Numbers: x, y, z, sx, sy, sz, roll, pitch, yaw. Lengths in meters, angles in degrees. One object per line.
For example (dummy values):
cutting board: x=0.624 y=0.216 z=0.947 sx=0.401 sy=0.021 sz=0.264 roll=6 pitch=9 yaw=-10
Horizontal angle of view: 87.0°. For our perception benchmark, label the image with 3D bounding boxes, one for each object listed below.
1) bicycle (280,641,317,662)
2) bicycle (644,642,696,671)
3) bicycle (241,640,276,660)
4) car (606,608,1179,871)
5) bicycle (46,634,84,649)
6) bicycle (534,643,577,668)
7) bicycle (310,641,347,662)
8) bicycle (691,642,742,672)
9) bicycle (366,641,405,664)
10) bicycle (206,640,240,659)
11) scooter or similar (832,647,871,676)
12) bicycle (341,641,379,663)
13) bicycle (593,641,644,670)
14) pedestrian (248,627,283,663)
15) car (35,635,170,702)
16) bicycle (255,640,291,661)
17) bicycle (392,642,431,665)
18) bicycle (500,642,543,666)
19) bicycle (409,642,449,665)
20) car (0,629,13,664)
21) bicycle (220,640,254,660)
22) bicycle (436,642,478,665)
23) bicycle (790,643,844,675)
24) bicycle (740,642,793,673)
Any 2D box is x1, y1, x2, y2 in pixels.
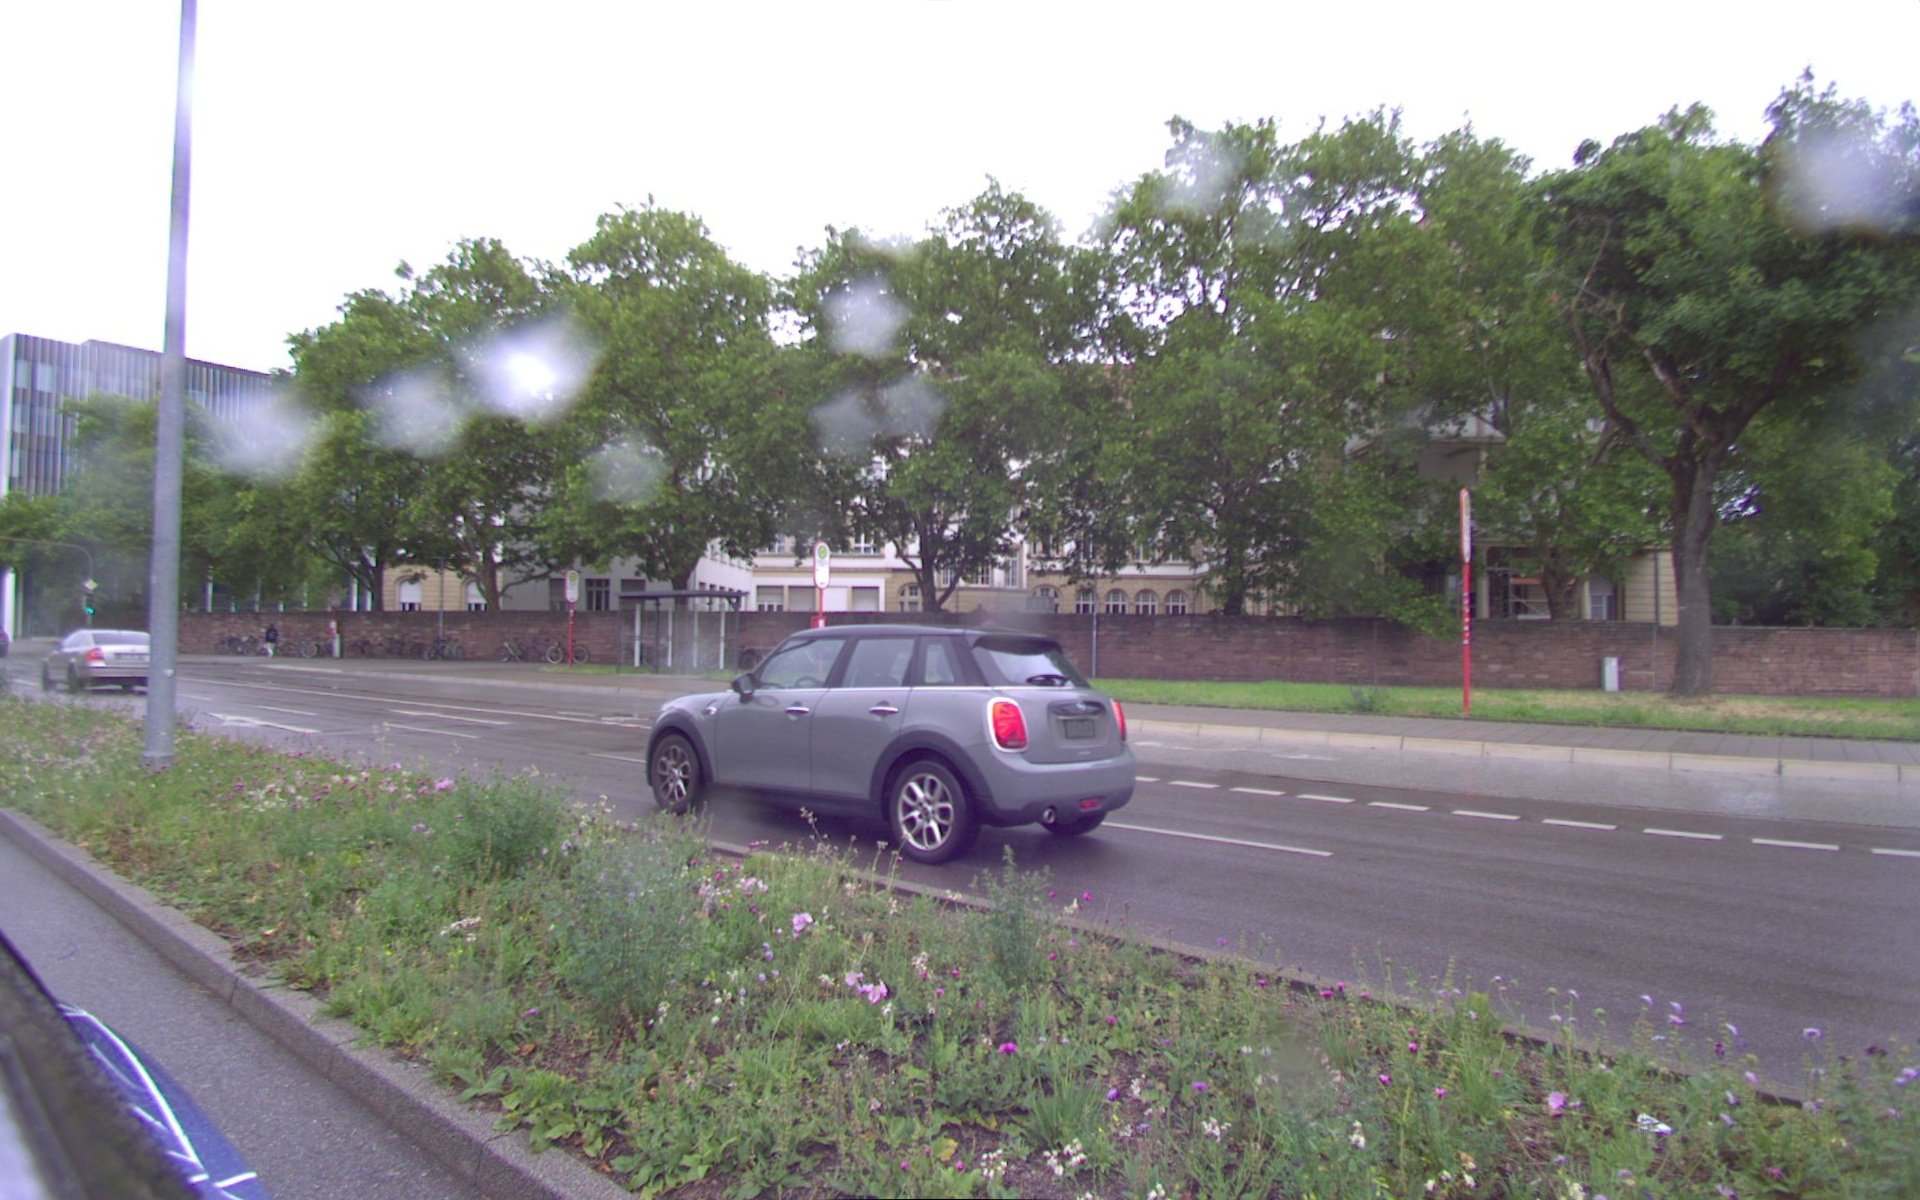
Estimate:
bicycle: x=-32.161 y=2.474 z=49.210 sx=1.692 sy=0.990 sz=0.727 roll=-1 pitch=-2 yaw=27
bicycle: x=-11.429 y=2.219 z=39.888 sx=1.975 sy=1.144 sz=0.571 roll=-1 pitch=-3 yaw=18
bicycle: x=-35.566 y=2.540 z=51.340 sx=1.692 sy=0.990 sz=0.727 roll=-1 pitch=-2 yaw=27
car: x=-0.667 y=0.871 z=7.402 sx=4.117 sy=1.387 sz=1.754 roll=-2 pitch=-6 yaw=41
bicycle: x=-73.868 y=3.405 z=83.509 sx=0.595 sy=1.231 sz=2.267 roll=-1 pitch=-3 yaw=25
bicycle: x=-16.664 y=2.287 z=41.692 sx=1.692 sy=0.990 sz=0.727 roll=-1 pitch=-2 yaw=27
bicycle: x=-30.178 y=2.452 z=48.359 sx=1.692 sy=0.990 sz=0.727 roll=-1 pitch=-2 yaw=27
bicycle: x=-9.460 y=2.208 z=39.292 sx=1.978 sy=1.144 sz=0.570 roll=-1 pitch=-3 yaw=22
bicycle: x=-26.231 y=2.389 z=46.215 sx=1.692 sy=0.990 sz=0.727 roll=-1 pitch=-2 yaw=27
bicycle: x=-38.769 y=2.597 z=53.228 sx=1.692 sy=0.990 sz=0.727 roll=-1 pitch=-2 yaw=27
scooter or similar: x=-4.019 y=2.274 z=37.472 sx=1.353 sy=1.055 sz=0.570 roll=-1 pitch=-3 yaw=22
bicycle: x=-27.822 y=2.408 z=46.927 sx=1.692 sy=0.990 sz=0.727 roll=-1 pitch=-2 yaw=27
bicycle: x=-13.714 y=2.232 z=40.613 sx=1.975 sy=1.144 sz=0.571 roll=-1 pitch=-3 yaw=18
pedestrian: x=-33.233 y=2.145 z=48.442 sx=1.395 sy=1.708 sz=0.862 roll=-1 pitch=-3 yaw=32
car: x=-20.141 y=1.554 z=23.728 sx=4.179 sy=1.426 sz=1.677 roll=-1 pitch=-3 yaw=40
bicycle: x=-33.897 y=2.491 z=49.938 sx=1.858 sy=0.990 sz=0.726 roll=-1 pitch=-2 yaw=31
bicycle: x=-24.660 y=2.385 z=45.492 sx=1.692 sy=0.990 sz=0.727 roll=-1 pitch=-2 yaw=27
bicycle: x=-18.494 y=2.268 z=42.677 sx=1.692 sy=0.990 sz=0.727 roll=-1 pitch=-2 yaw=27
bicycle: x=-23.502 y=2.364 z=44.799 sx=1.692 sy=0.990 sz=0.727 roll=-1 pitch=-2 yaw=27
car: x=-48.544 y=2.253 z=50.027 sx=4.600 sy=1.648 sz=1.973 roll=-1 pitch=-5 yaw=41
bicycle: x=-37.158 y=2.556 z=52.008 sx=1.692 sy=0.990 sz=0.727 roll=-1 pitch=-2 yaw=27
bicycle: x=-21.591 y=2.288 z=43.432 sx=1.692 sy=0.990 sz=0.727 roll=-1 pitch=-2 yaw=27
bicycle: x=-5.371 y=2.206 z=37.970 sx=1.978 sy=1.144 sz=0.570 roll=-1 pitch=-3 yaw=22
bicycle: x=-7.361 y=2.188 z=38.448 sx=1.978 sy=1.144 sz=0.570 roll=-1 pitch=-3 yaw=22
